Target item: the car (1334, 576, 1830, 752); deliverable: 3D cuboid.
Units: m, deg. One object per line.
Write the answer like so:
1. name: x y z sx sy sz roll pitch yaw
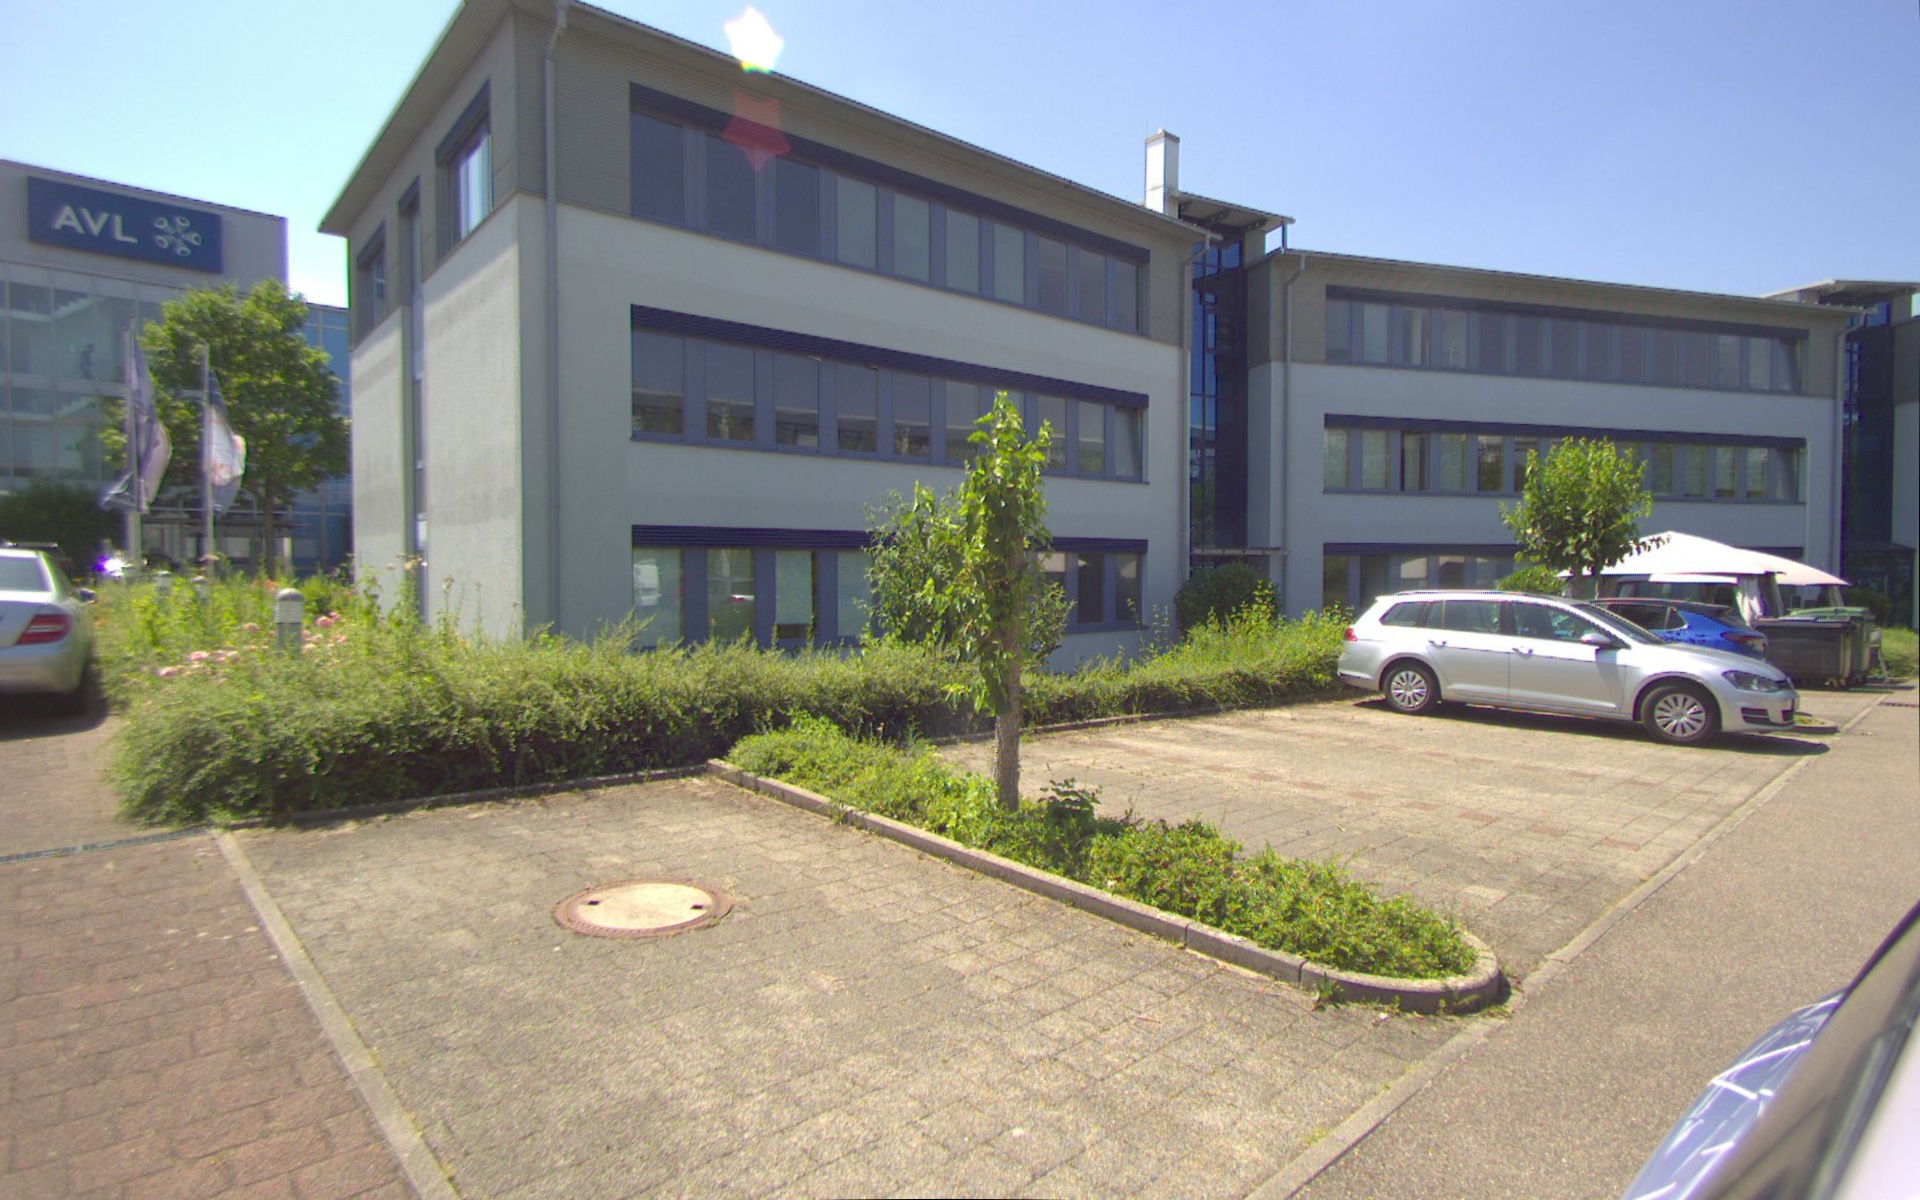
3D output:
1. car: 6.847 0.546 11.539 1.799 1.515 4.510 0 2 -44

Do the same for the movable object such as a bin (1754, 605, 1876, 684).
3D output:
1. movable object such as a bin: 14.052 0.699 16.656 0.979 1.204 1.364 0 1 -38

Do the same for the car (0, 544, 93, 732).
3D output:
1. car: -8.870 0.259 8.978 1.700 1.454 3.710 0 1 -42

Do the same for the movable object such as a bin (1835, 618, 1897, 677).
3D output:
1. movable object such as a bin: 15.779 0.814 17.621 0.709 0.961 0.690 0 1 -38

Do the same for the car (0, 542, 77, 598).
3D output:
1. car: -27.087 -0.860 29.630 1.720 1.538 3.991 0 1 -43

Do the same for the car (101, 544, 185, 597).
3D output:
1. car: -25.168 -0.894 31.147 1.720 1.538 3.991 0 1 -43

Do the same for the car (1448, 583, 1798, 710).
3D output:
1. car: 9.135 0.534 14.161 1.625 1.408 3.818 0 3 -44

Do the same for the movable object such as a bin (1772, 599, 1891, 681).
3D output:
1. movable object such as a bin: 14.889 0.649 17.305 1.024 1.312 1.364 0 1 -38
